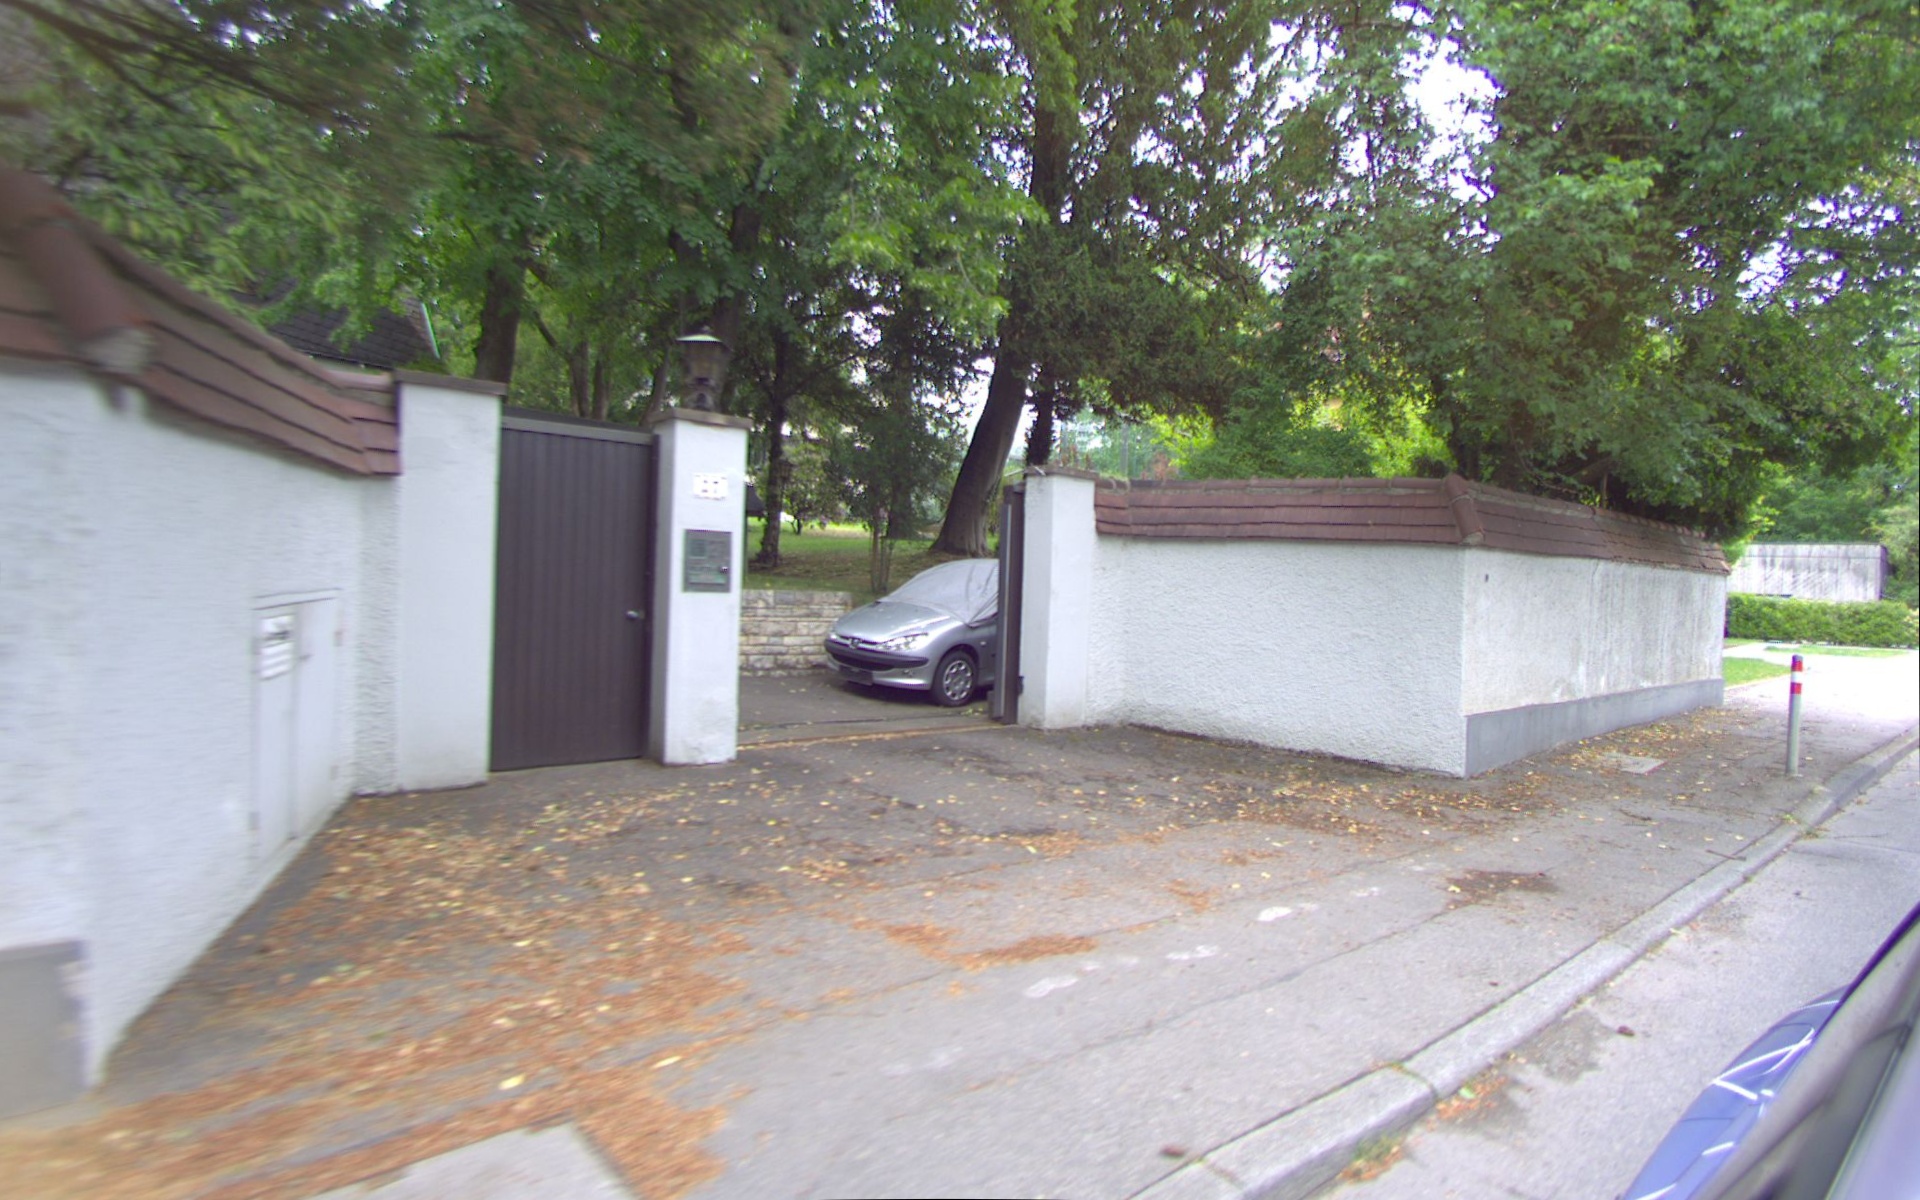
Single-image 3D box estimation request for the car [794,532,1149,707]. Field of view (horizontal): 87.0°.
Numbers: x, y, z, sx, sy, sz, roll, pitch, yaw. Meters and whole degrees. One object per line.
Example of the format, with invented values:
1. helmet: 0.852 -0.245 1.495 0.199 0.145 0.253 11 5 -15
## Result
1. car: 0.272 0.115 11.470 1.753 1.504 3.938 9 7 43
